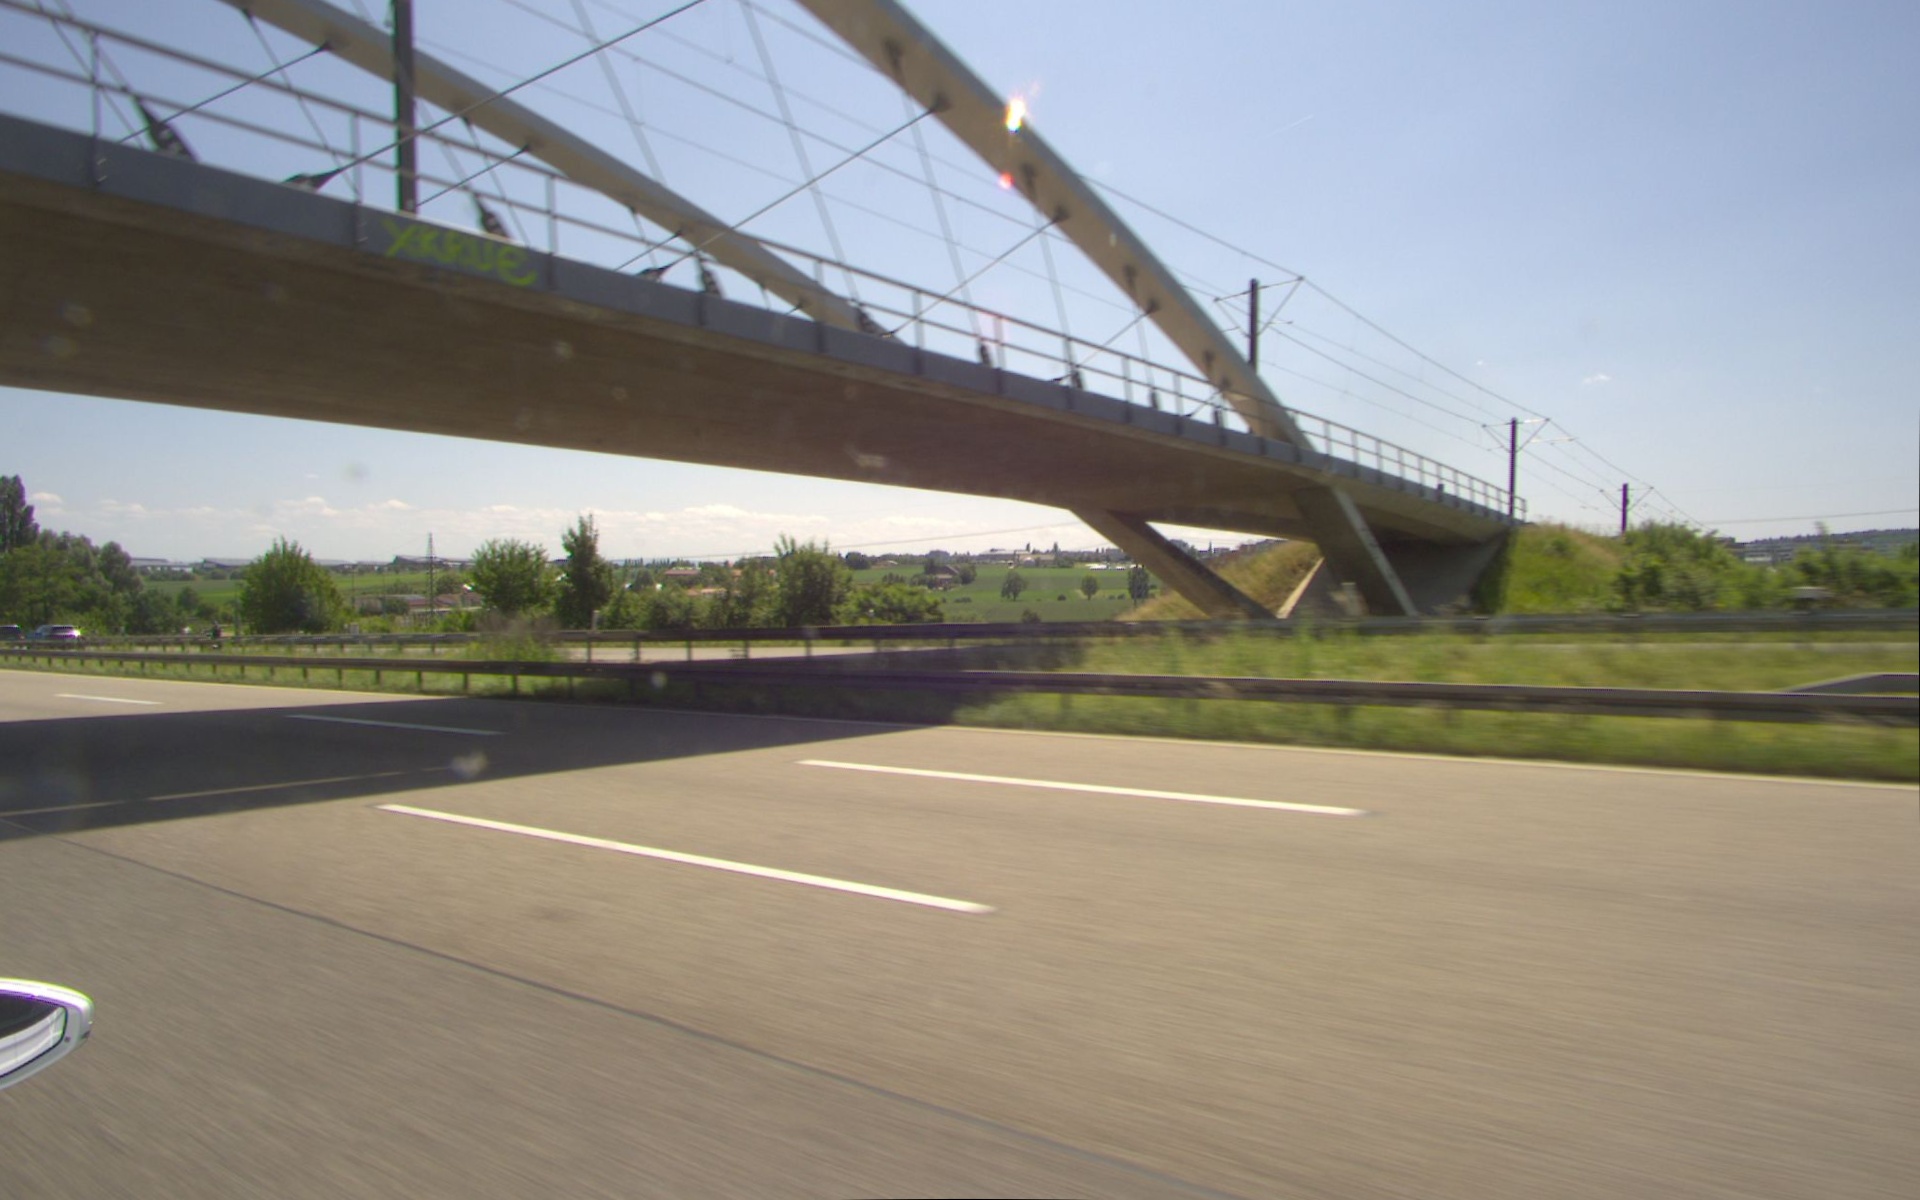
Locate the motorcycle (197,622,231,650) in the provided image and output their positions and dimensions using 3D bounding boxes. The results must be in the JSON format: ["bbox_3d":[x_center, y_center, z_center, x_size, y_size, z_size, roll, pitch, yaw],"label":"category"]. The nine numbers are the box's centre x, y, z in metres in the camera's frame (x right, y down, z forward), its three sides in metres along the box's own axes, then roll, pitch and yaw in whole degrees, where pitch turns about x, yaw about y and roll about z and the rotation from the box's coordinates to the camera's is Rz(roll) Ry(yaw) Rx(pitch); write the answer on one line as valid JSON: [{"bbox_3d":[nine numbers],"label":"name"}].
[{"bbox_3d":[-37.274,1.787,50.051,1.843,1.384,0.758,-1,-1,33],"label":"motorcycle"}]

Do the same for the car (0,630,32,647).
[{"bbox_3d":[-78.018,3.147,82.212,3.941,1.293,1.697,-1,-2,31],"label":"car"}]

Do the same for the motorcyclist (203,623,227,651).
[{"bbox_3d":[-37.211,1.831,50.013,0.866,1.384,0.667,-1,-1,32],"label":"motorcyclist"}]

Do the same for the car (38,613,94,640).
[{"bbox_3d":[-55.229,1.632,61.832,4.072,1.595,1.695,-1,-2,35],"label":"car"}]
